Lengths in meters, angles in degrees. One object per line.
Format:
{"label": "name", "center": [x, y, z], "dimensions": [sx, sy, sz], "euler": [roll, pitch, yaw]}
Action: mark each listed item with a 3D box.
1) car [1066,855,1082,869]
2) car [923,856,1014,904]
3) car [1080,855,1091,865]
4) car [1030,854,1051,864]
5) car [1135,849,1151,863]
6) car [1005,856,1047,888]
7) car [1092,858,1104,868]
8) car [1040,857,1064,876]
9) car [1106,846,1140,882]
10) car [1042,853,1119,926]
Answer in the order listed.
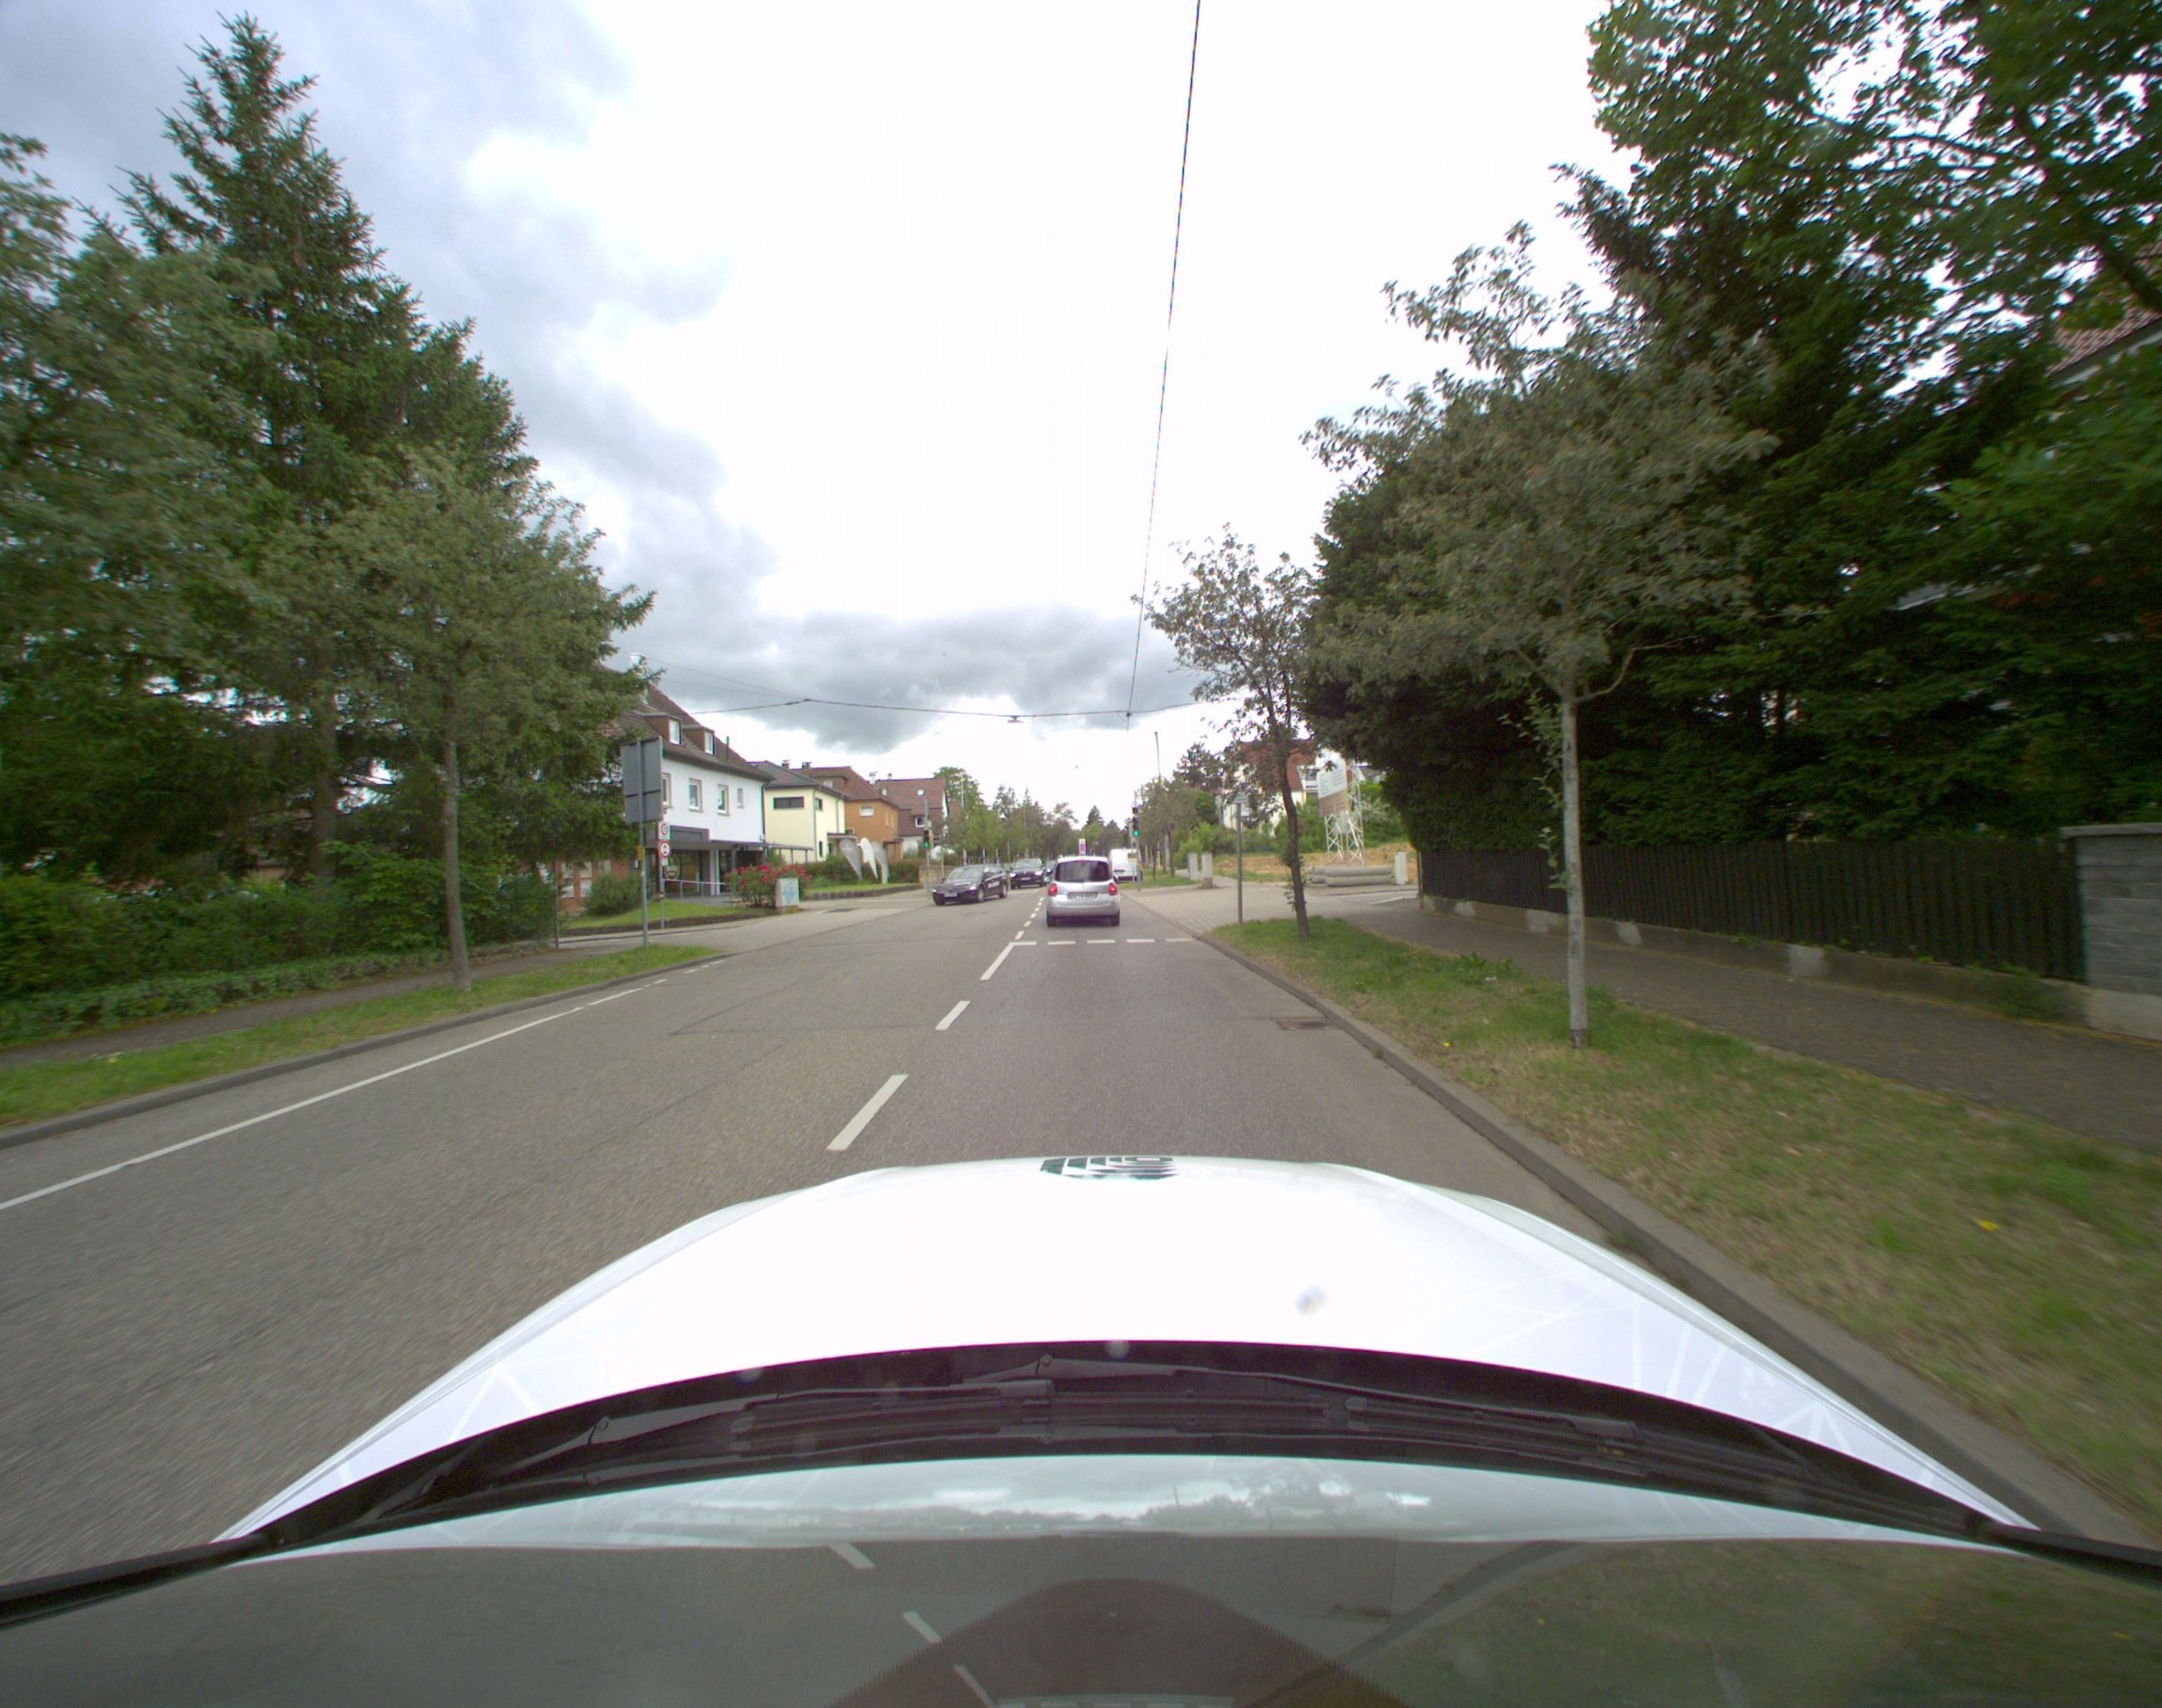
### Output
{"label": "car", "center": [-0.893, 1.025, 107.184], "dimensions": [1.807, 1.692, 4.467], "euler": [-4, 0, 1]}
{"label": "car", "center": [-4.334, 0.965, 32.229], "dimensions": [1.980, 1.620, 4.664], "euler": [-3, 0, 12]}
{"label": "car", "center": [0.871, 1.060, 148.555], "dimensions": [1.788, 1.752, 4.301], "euler": [-3, 0, 2]}
{"label": "car", "center": [-8.064, 0.938, 162.512], "dimensions": [4.071, 1.706, 1.748], "euler": [-3, 0, 1]}
{"label": "car", "center": [8.395, 0.257, 110.228], "dimensions": [1.823, 1.711, 4.551], "euler": [-5, 0, 2]}
{"label": "car", "center": [-3.033, 0.952, 45.546], "dimensions": [1.888, 1.624, 4.001], "euler": [-3, 0, 1]}
{"label": "car", "center": [2.961, 1.573, 143.522], "dimensions": [1.831, 1.713, 3.996], "euler": [-4, 0, -2]}
{"label": "car", "center": [-2.448, 1.007, 68.987], "dimensions": [1.609, 1.472, 4.003], "euler": [-3, 0, 3]}
{"label": "car", "center": [2.423, 0.579, 47.942], "dimensions": [1.769, 1.943, 4.789], "euler": [-1, 0, 1]}
{"label": "car", "center": [0.048, 0.784, 19.450], "dimensions": [1.673, 1.560, 3.513], "euler": [0, -1, 2]}
